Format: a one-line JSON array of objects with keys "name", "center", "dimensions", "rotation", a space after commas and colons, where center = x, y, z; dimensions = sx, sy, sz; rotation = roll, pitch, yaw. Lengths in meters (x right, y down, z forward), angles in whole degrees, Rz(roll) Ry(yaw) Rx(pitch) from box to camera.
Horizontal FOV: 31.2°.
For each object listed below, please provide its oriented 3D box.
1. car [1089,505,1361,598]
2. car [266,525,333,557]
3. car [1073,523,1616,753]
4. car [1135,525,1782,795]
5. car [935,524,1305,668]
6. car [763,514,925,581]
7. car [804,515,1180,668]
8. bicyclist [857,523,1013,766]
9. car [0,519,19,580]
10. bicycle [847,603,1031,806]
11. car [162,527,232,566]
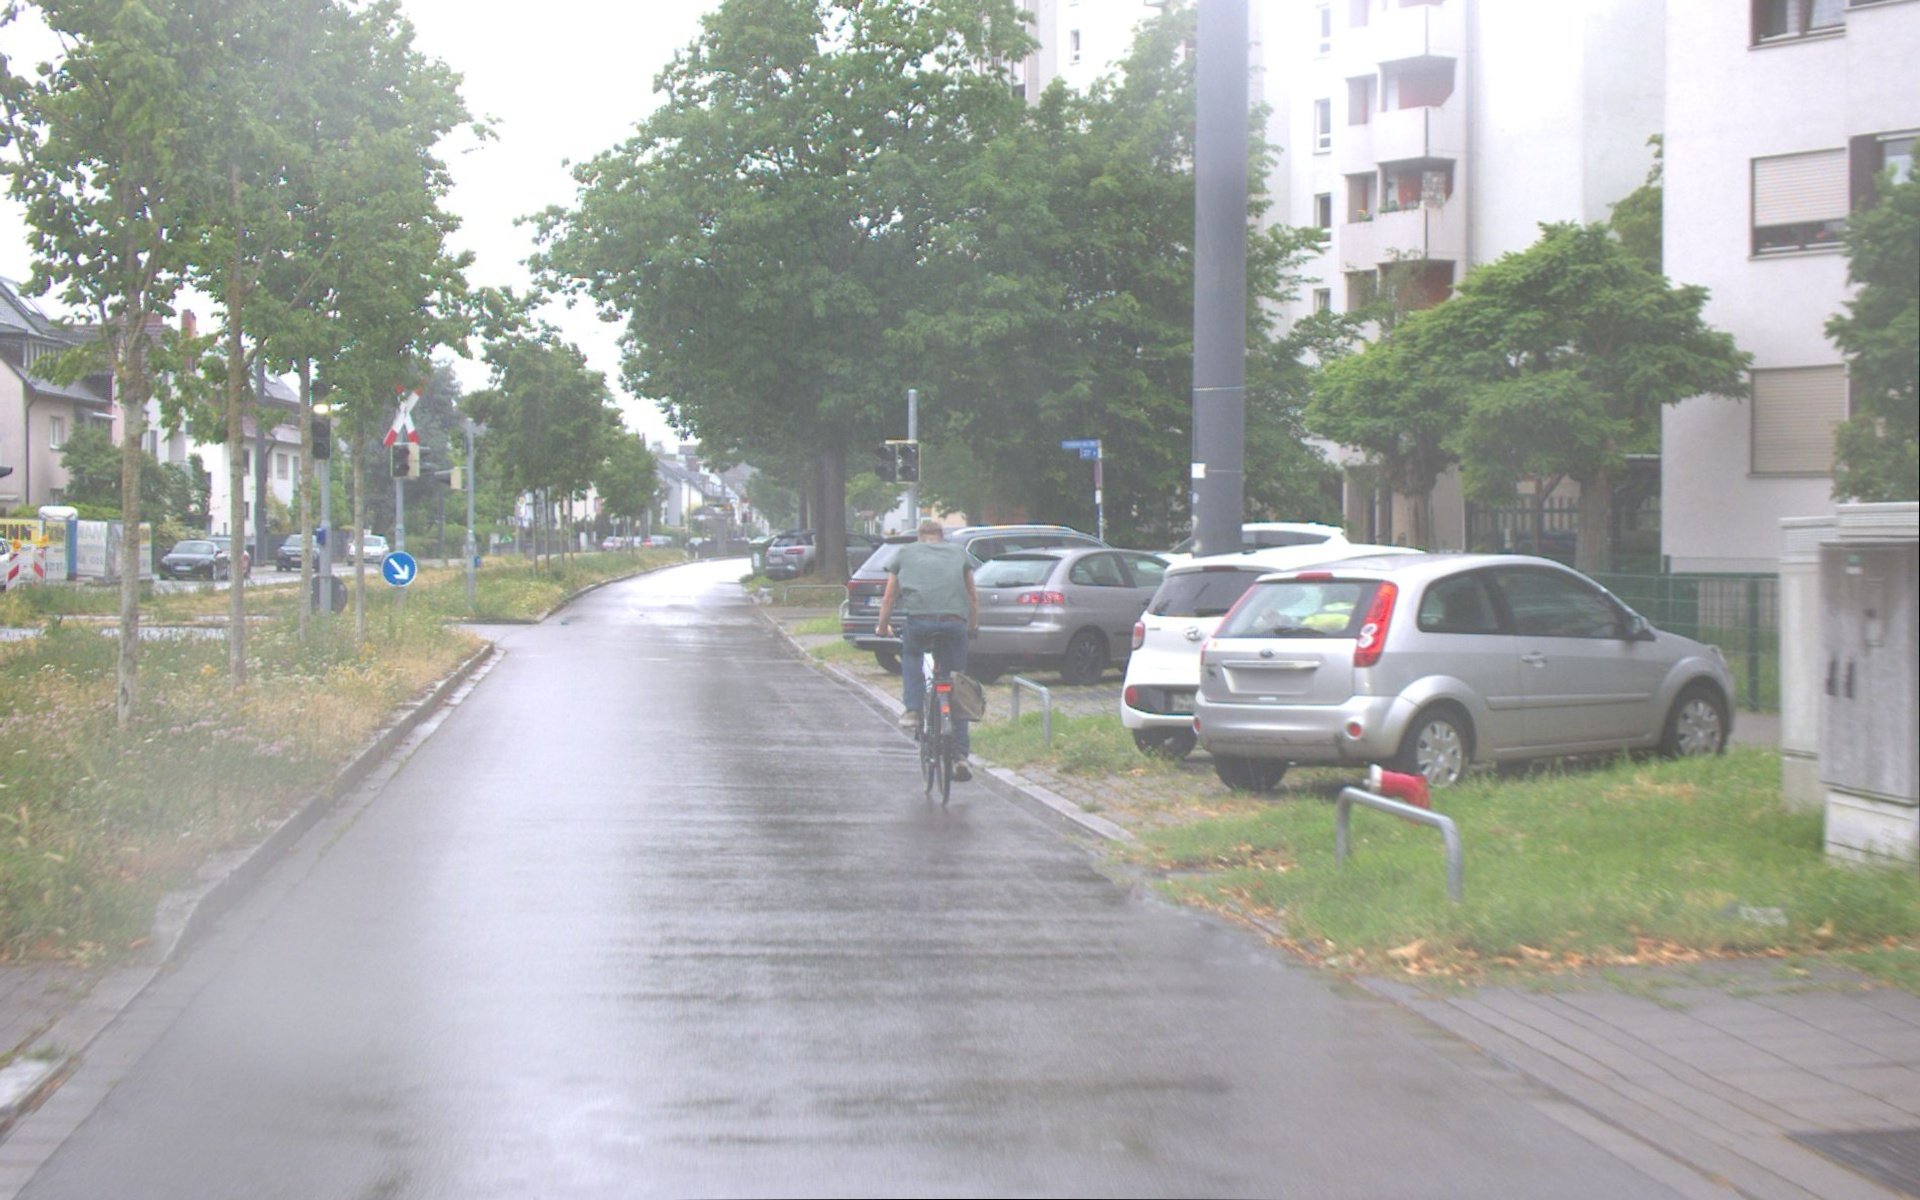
[{"name": "car", "center": [5.083, -0.931, 66.100], "dimensions": [4.801, 1.739, 2.001], "rotation": [0, 1, -19]}, {"name": "car", "center": [-27.389, -2.448, 142.671], "dimensions": [1.896, 1.240, 4.688], "rotation": [2, 1, -1]}, {"name": "car", "center": [2.838, 0.240, 24.809], "dimensions": [3.989, 1.503, 1.704], "rotation": [-2, 0, -44]}, {"name": "car", "center": [3.174, 0.329, 21.470], "dimensions": [3.989, 1.503, 1.783], "rotation": [-2, 0, -41]}, {"name": "car", "center": [1.752, -0.088, 36.647], "dimensions": [1.734, 1.424, 3.990], "rotation": [1, 2, 44]}, {"name": "car", "center": [-3.304, -1.512, 97.949], "dimensions": [4.136, 1.713, 2.000], "rotation": [-4, 3, -35]}, {"name": "car", "center": [0.421, -0.144, 39.691], "dimensions": [1.857, 1.645, 4.339], "rotation": [1, 2, 44]}, {"name": "bicyclist", "center": [-0.161, 0.250, 20.828], "dimensions": [0.809, 1.428, 1.060], "rotation": [-1, 1, -7]}, {"name": "car", "center": [-25.274, -1.303, 87.224], "dimensions": [1.710, 1.537, 4.423], "rotation": [2, 1, -3]}, {"name": "bicycle", "center": [-0.162, 0.595, 20.919], "dimensions": [0.809, 1.093, 2.518], "rotation": [-1, 1, -7]}, {"name": "car", "center": [-25.911, -1.823, 116.806], "dimensions": [1.663, 1.240, 4.072], "rotation": [2, 1, -3]}]
